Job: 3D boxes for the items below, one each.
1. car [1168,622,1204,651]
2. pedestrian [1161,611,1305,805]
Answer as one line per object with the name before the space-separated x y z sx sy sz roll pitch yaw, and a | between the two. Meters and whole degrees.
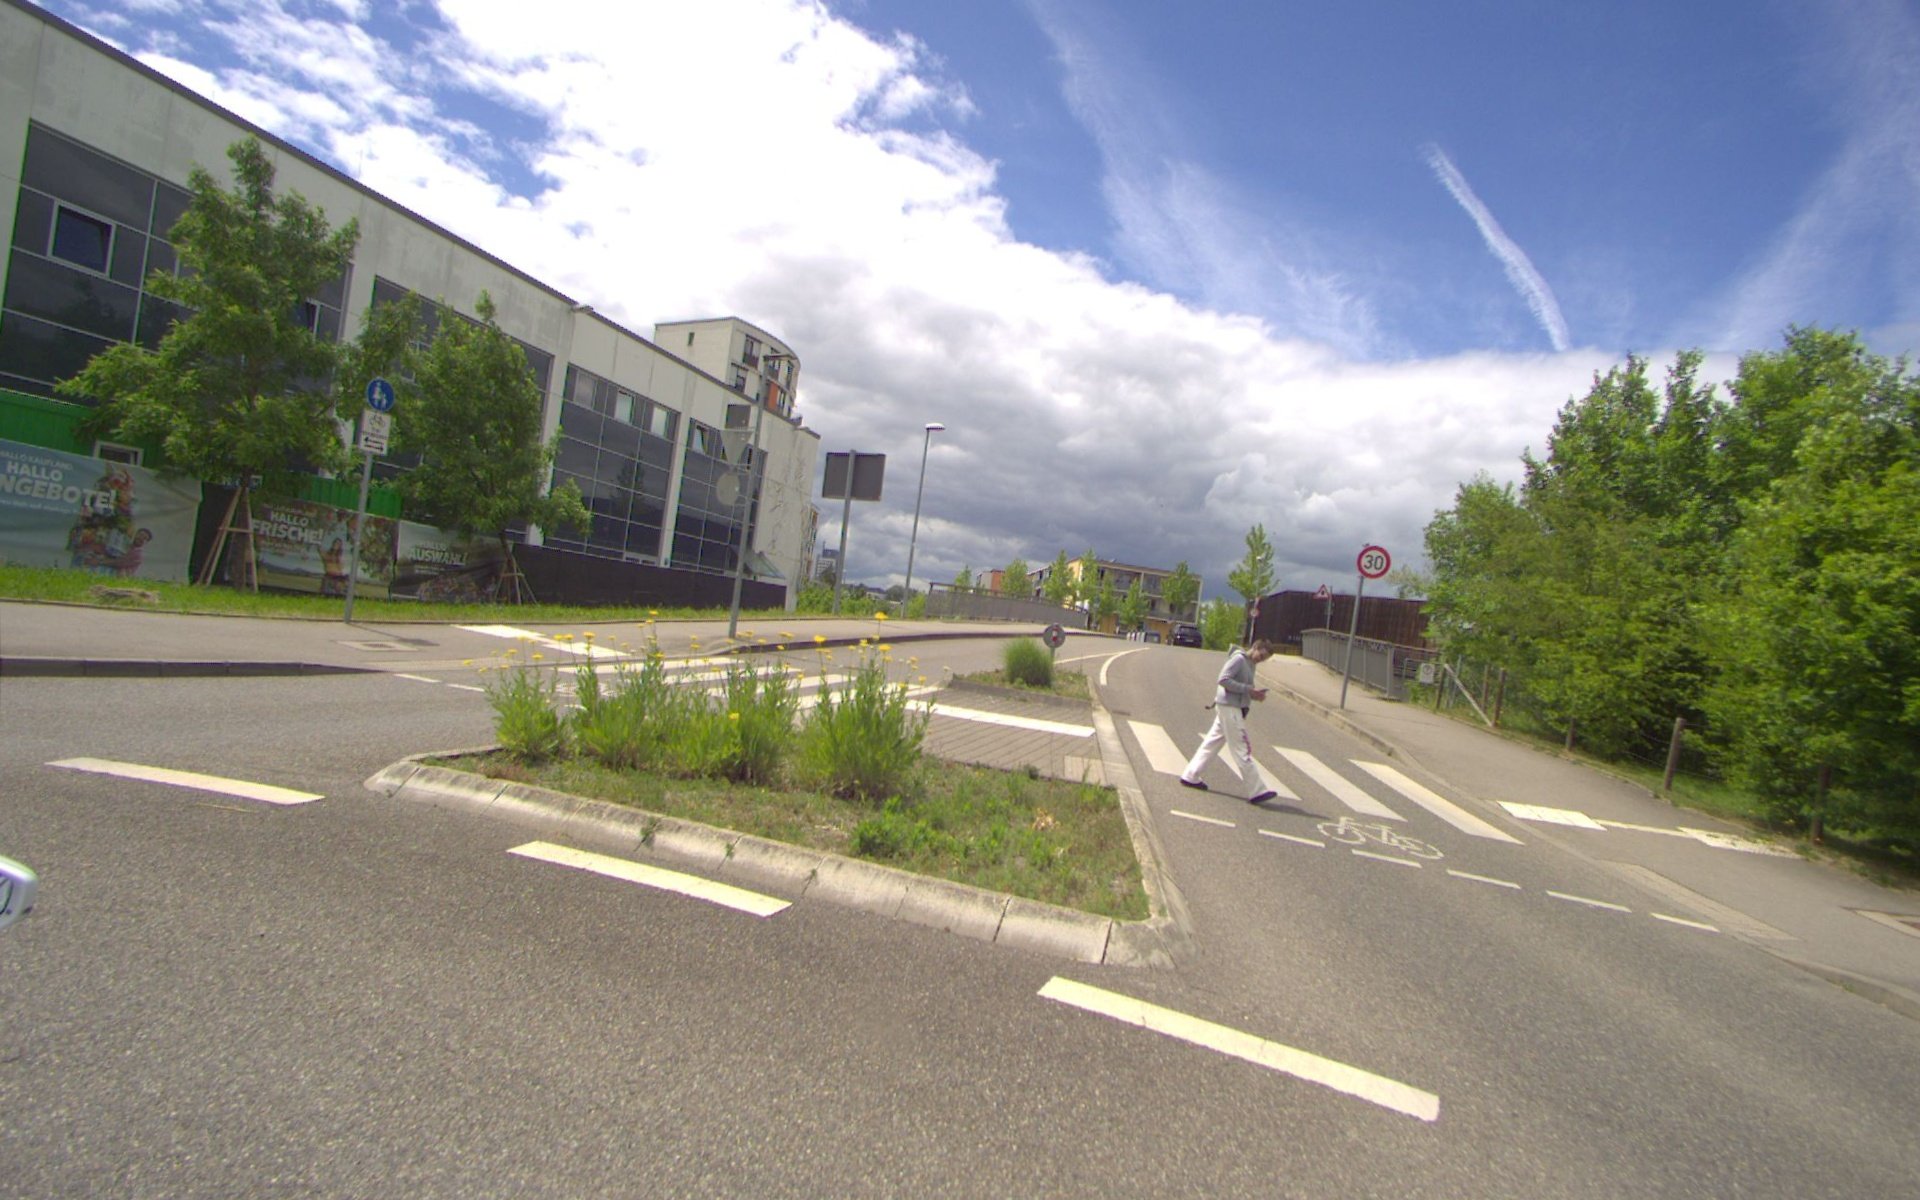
car | 15.074 2.465 66.934 1.877 1.468 4.006 8 -3 17
pedestrian | 2.542 0.980 9.298 1.018 1.558 0.896 8 -2 20
